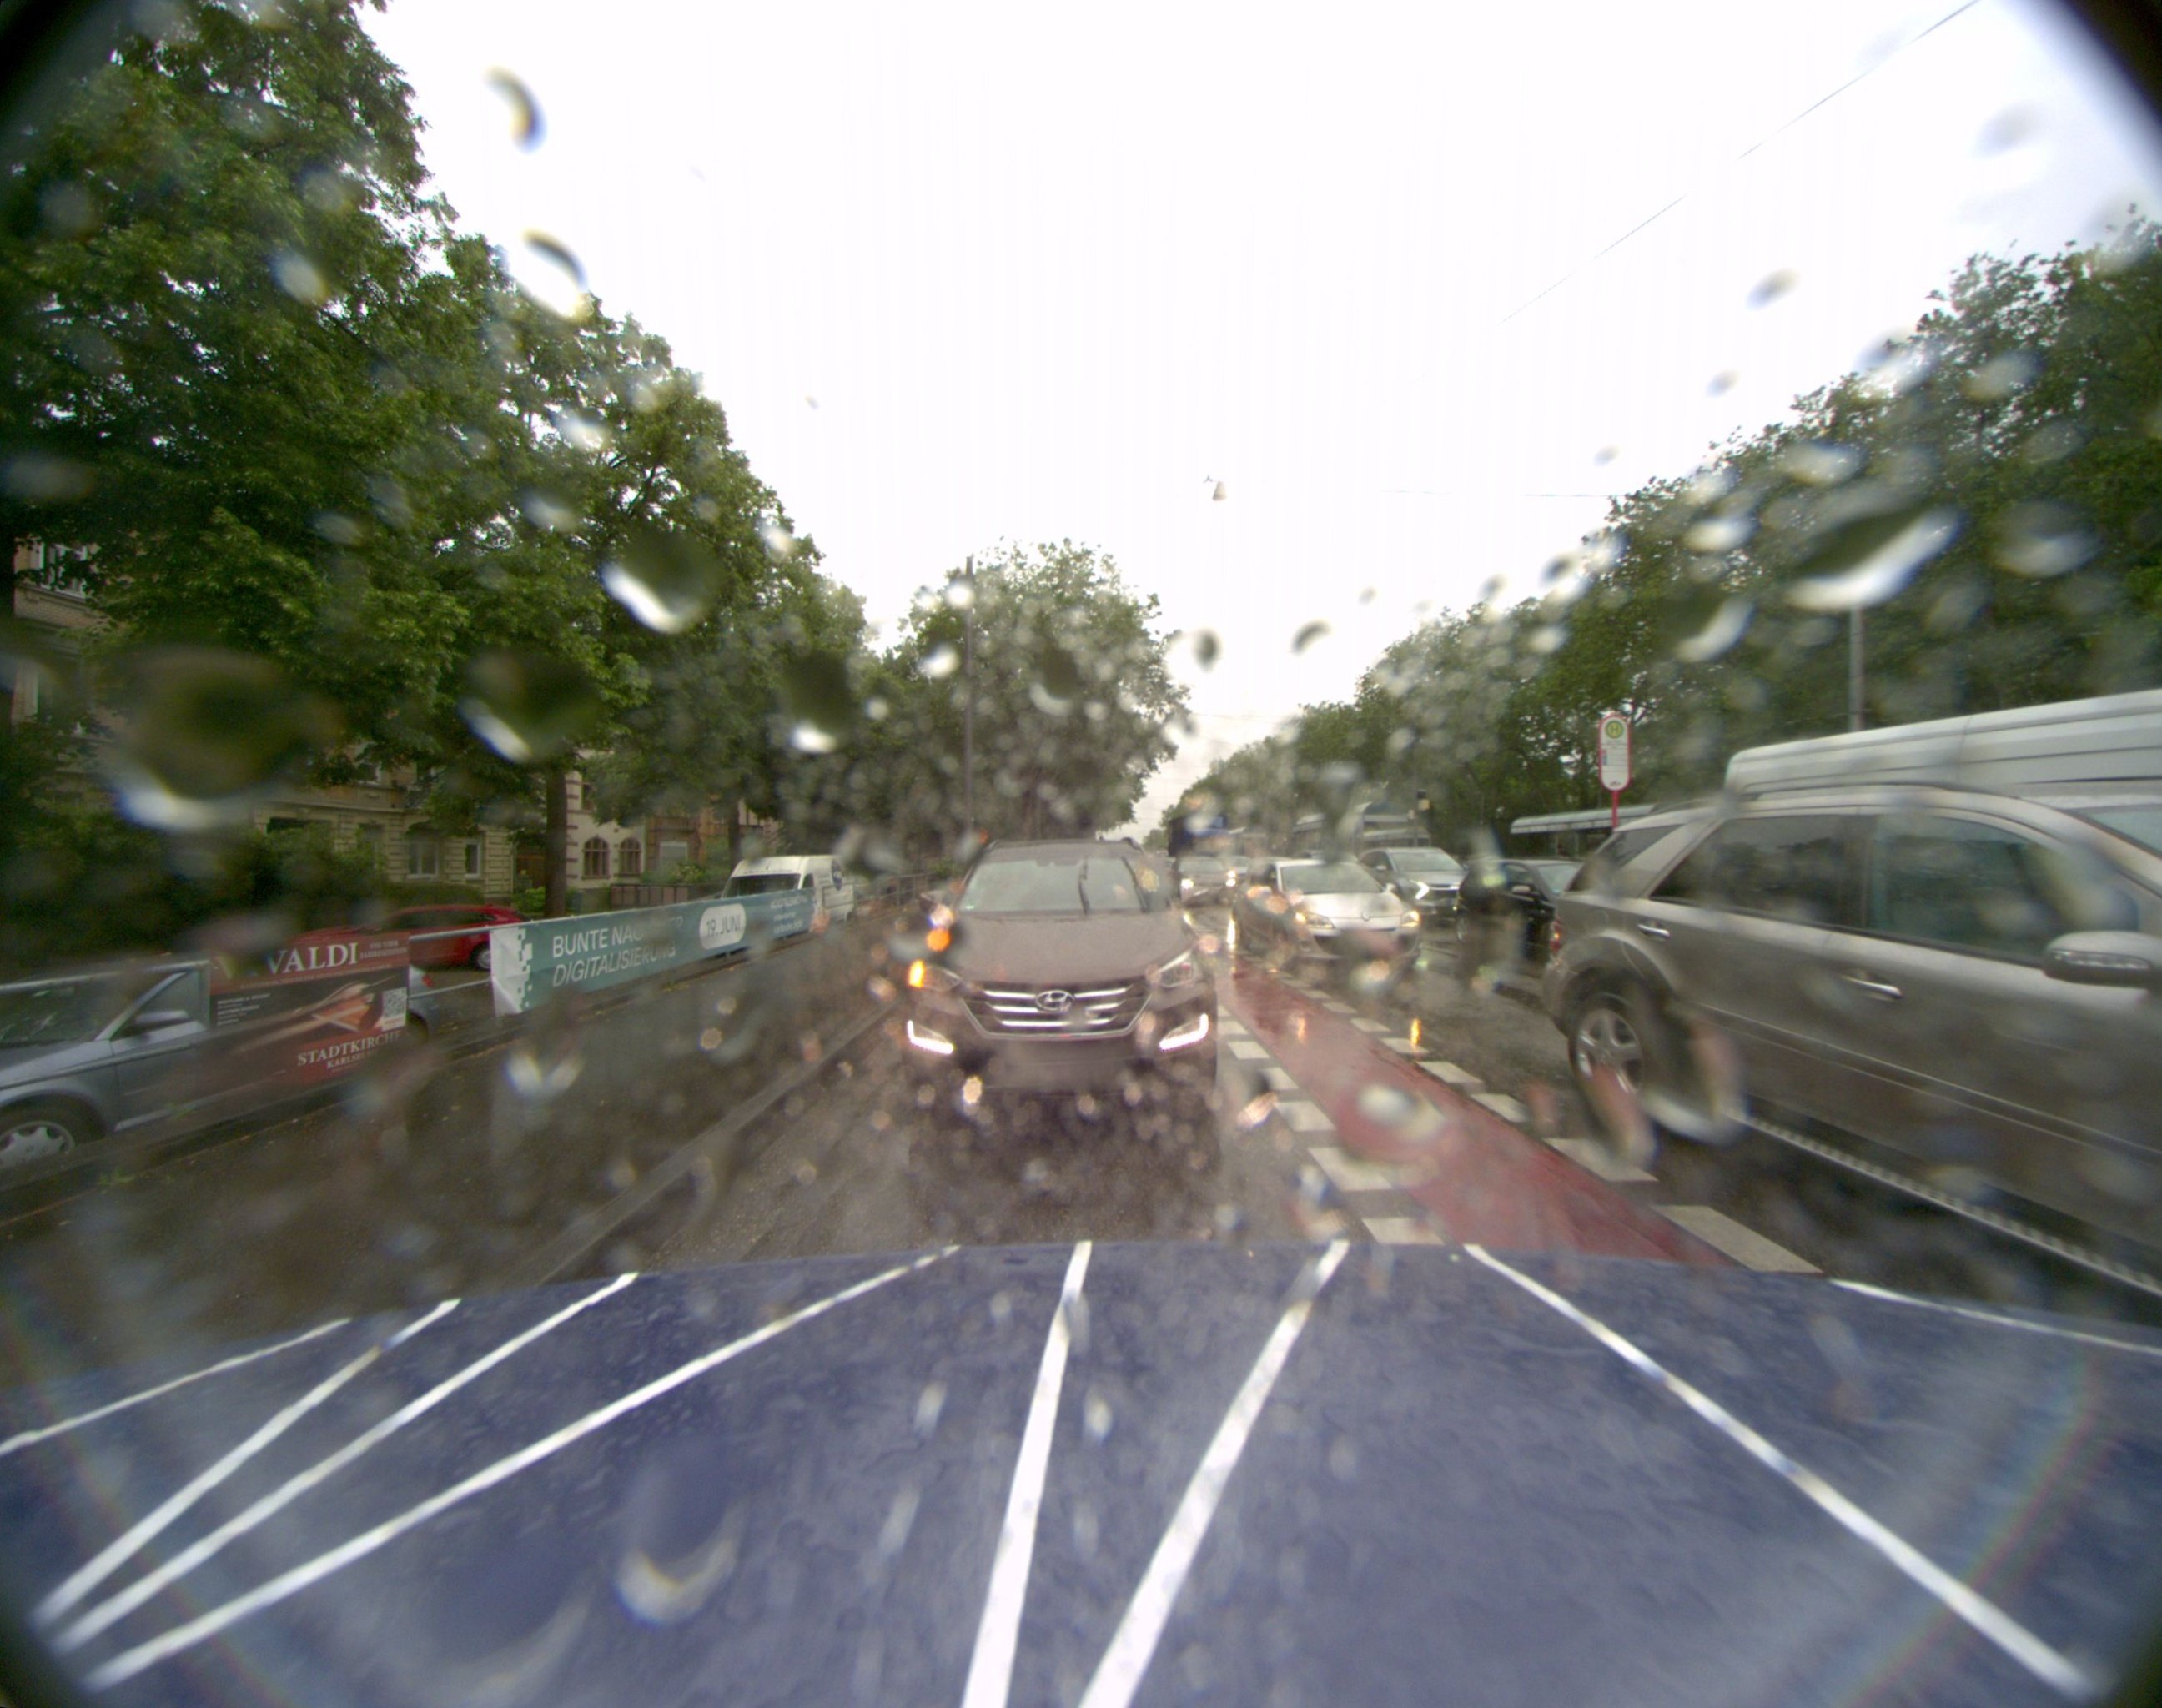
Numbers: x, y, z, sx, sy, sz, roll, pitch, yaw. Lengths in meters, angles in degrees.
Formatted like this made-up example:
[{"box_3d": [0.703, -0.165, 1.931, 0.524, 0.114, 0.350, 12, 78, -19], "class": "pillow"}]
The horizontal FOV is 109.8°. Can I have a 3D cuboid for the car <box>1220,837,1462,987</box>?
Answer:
[{"box_3d": [3.482, 0.715, 11.146, 1.975, 1.731, 4.267, -1, -1, -1], "class": "car"}]

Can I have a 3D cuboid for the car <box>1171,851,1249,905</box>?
[{"box_3d": [4.074, 0.742, 24.633, 1.912, 1.540, 4.668, -1, -1, 3], "class": "car"}]

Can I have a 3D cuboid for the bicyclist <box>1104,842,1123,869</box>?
[{"box_3d": [1.784, 0.093, 42.078, 0.927, 1.461, 0.805, -2, 1, -2], "class": "bicyclist"}]

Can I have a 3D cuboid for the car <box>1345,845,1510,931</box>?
[{"box_3d": [7.423, 0.696, 16.809, 1.847, 1.625, 4.249, -1, -1, 3], "class": "car"}]

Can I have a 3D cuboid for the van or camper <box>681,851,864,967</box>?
[{"box_3d": [-7.799, 1.278, 20.105, 2.332, 2.575, 6.097, -1, -1, 0], "class": "van or camper"}]

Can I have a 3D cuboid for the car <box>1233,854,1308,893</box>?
[{"box_3d": [7.456, 0.756, 30.304, 1.913, 1.399, 4.191, -1, -1, 0], "class": "car"}]

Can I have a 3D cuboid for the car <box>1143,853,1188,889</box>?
[{"box_3d": [4.116, 0.808, 37.526, 1.912, 1.637, 4.192, -1, -1, 3], "class": "car"}]

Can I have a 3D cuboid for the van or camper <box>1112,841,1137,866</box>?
[{"box_3d": [4.569, -0.037, 80.817, 2.144, 2.484, 5.713, -1, -1, -1], "class": "van or camper"}]

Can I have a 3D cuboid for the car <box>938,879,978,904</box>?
[{"box_3d": [-7.805, 2.336, 48.576, 1.808, 1.446, 4.001, -1, -1, 1], "class": "car"}]

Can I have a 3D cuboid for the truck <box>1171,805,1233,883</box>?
[{"box_3d": [7.129, -0.492, 45.808, 2.417, 4.251, 8.354, -1, -1, 1], "class": "truck"}]

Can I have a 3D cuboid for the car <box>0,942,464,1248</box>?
[{"box_3d": [-7.207, 1.621, 5.644, 1.731, 1.461, 4.217, -1, -1, 1], "class": "car"}]

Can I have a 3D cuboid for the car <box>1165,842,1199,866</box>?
[{"box_3d": [7.656, -0.038, 57.964, 1.998, 1.706, 3.999, -2, 1, 1], "class": "car"}]

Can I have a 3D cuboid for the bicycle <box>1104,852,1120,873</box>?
[{"box_3d": [1.711, 0.470, 42.196, 0.818, 1.082, 1.998, -2, 1, 0], "class": "bicycle"}]

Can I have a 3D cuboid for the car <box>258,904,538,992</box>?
[{"box_3d": [-14.591, 1.950, 16.617, 4.294, 1.461, 1.705, -1, -1, -31], "class": "car"}]

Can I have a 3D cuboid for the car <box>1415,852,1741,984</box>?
[{"box_3d": [6.832, 0.789, 11.189, 1.786, 1.504, 4.557, -1, -1, 0], "class": "car"}]

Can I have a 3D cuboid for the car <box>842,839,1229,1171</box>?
[{"box_3d": [-0.127, 0.802, 6.159, 1.912, 1.637, 4.682, -1, -1, 3], "class": "car"}]

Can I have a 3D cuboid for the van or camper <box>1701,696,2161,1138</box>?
[{"box_3d": [7.099, 0.337, 4.344, 2.181, 2.456, 5.971, -1, -1, 0], "class": "van or camper"}]

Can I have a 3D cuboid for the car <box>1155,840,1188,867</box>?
[{"box_3d": [7.729, -0.041, 65.558, 2.344, 2.137, 5.454, -2, 1, 2], "class": "car"}]

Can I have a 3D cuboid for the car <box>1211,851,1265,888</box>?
[{"box_3d": [7.447, 0.741, 36.360, 1.912, 1.637, 4.192, -1, -1, 3], "class": "car"}]

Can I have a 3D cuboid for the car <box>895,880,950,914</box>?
[{"box_3d": [-7.535, 2.017, 36.454, 1.704, 1.363, 4.000, -2, 0, 1], "class": "car"}]

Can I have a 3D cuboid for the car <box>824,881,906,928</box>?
[{"box_3d": [-7.648, 1.732, 27.272, 1.630, 1.341, 4.216, -1, 0, 1], "class": "car"}]

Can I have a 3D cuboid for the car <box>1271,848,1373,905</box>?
[{"box_3d": [7.614, 0.686, 24.441, 1.913, 1.637, 4.191, -1, -1, 0], "class": "car"}]

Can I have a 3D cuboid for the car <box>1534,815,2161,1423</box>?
[{"box_3d": [3.846, 0.699, 2.458, 1.913, 1.637, 4.680, -1, -1, -1], "class": "car"}]
